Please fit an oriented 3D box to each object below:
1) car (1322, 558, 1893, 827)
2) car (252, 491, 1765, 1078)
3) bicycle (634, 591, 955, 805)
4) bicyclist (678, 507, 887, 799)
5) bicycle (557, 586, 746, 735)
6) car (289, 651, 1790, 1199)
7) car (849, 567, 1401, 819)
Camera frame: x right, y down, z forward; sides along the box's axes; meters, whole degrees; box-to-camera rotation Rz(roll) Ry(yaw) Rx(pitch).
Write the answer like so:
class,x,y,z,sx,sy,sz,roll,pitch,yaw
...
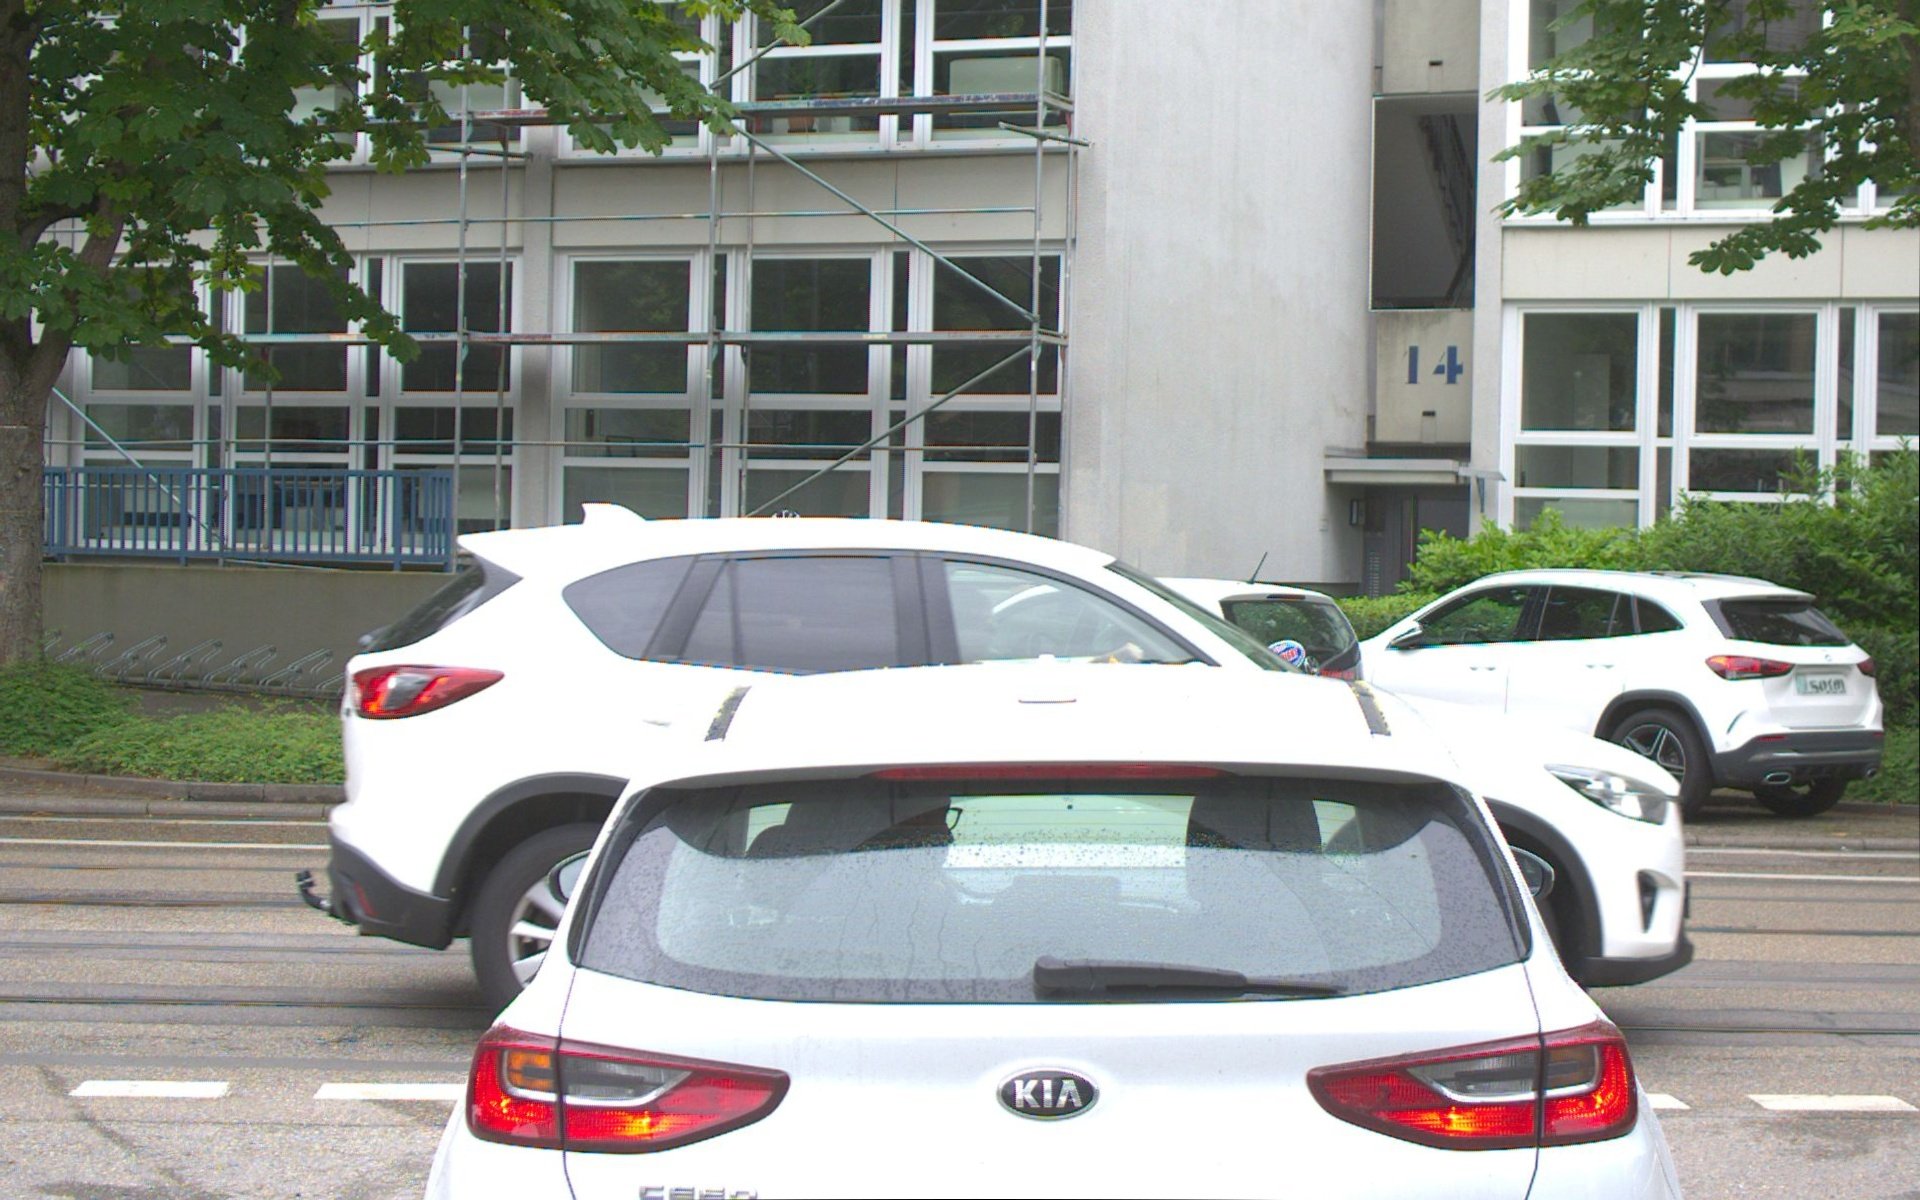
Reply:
class,x,y,z,sx,sy,sz,roll,pitch,yaw
car,4.209,0.548,22.643,1.552,1.612,3.406,0,1,-44
car,0.116,0.544,11.496,4.585,1.697,2.000,1,2,-3
bicycle,-1.011,0.563,20.616,1.914,1.170,0.819,2,1,44
bicyclist,-1.067,0.303,20.661,0.896,1.692,0.832,2,1,45
bicycle,-2.530,0.475,28.479,0.645,1.071,2.310,2,3,20
car,0.172,0.824,6.063,1.775,1.428,3.978,1,0,3
car,1.011,0.545,22.212,1.552,1.468,3.406,0,1,-44
